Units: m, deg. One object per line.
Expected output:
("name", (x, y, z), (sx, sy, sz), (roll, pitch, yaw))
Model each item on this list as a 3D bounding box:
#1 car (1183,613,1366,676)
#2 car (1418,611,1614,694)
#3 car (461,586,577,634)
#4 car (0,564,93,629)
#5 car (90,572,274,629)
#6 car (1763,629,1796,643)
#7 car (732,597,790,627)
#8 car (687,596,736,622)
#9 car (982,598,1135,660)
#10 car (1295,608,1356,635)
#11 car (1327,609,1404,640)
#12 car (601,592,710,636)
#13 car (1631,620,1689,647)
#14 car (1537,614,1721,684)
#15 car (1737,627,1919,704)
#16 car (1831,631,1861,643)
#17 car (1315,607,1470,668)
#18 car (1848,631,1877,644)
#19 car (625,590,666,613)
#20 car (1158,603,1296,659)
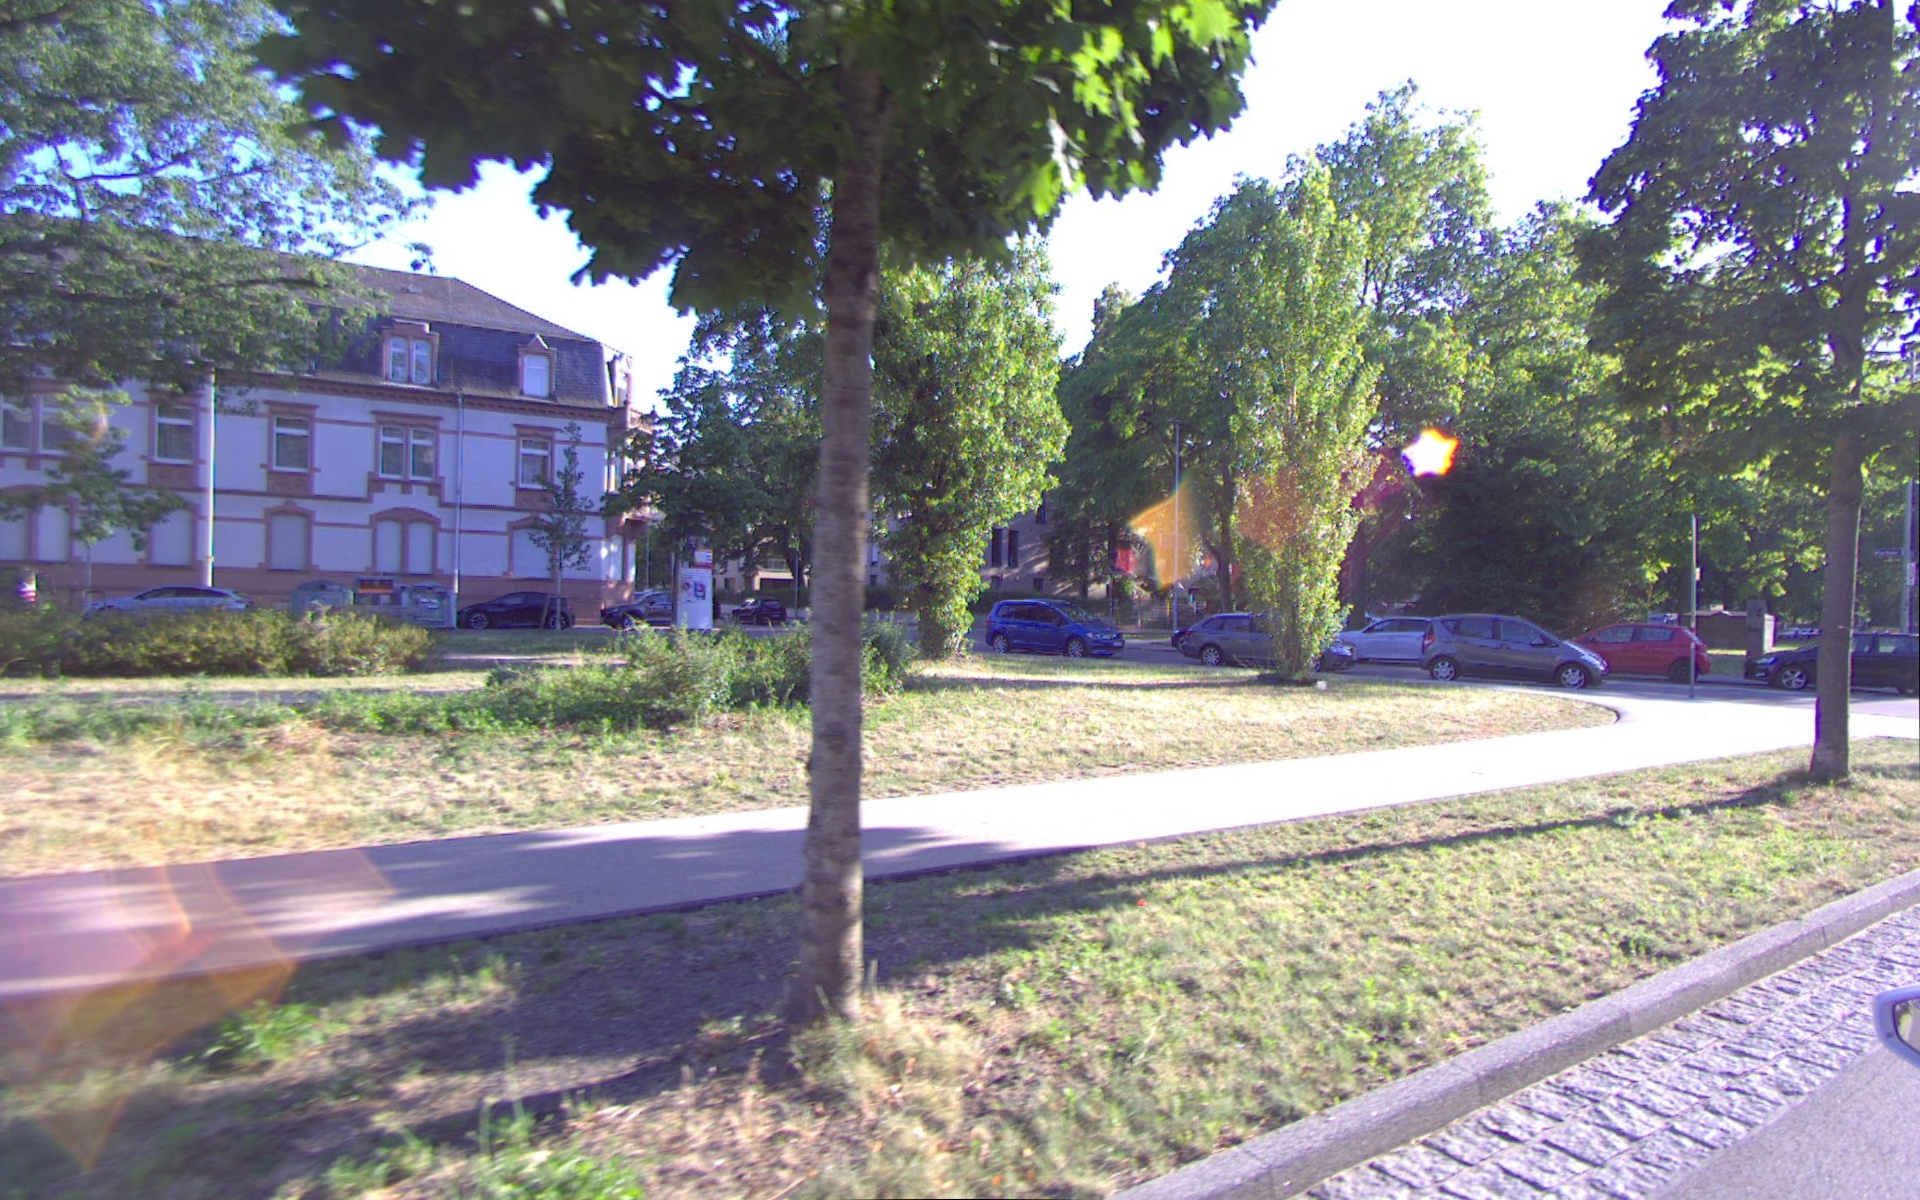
("car", (8.153, 1.112, 26.160), (4.204, 1.419, 1.835), (1, -1, 34))
("car", (12.714, 1.149, 23.058), (3.780, 1.653, 1.836), (1, -1, 32))
("car", (-17.072, 0.394, 38.893), (3.950, 1.594, 1.877), (4, -1, -28))
("car", (-30.789, -0.195, 31.564), (4.908, 1.918, 1.880), (4, -1, -24))
("car", (-26.067, 0.044, 33.893), (4.542, 1.594, 1.877), (4, -1, -28))
("car", (96.357, 4.189, 118.098), (3.959, 1.528, 1.981), (2, -1, -34))
("car", (-11.934, 0.707, 60.115), (1.873, 1.594, 3.959), (4, -2, -36))
("car", (-16.950, 0.607, 68.375), (1.873, 1.594, 3.959), (4, -2, -36))
("car", (2.904, 0.828, 30.060), (4.207, 1.665, 1.833), (1, -1, 37))
("car", (24.147, 1.426, 66.379), (3.700, 1.639, 1.981), (2, 0, -35))
("car", (32.070, 1.925, 79.544), (2.654, 2.142, 4.916), (2, 0, -37))
("car", (-12.697, 0.601, 41.918), (3.959, 1.594, 1.873), (4, -2, -34))
("car", (67.215, 3.228, 96.462), (6.258, 2.496, 2.702), (2, -1, -36))
("car", (17.683, 1.268, 26.776), (3.930, 1.594, 1.887), (2, -1, 31))
("car", (21.337, 1.562, 24.151), (3.930, 1.594, 1.887), (2, -1, 31))
("car", (114.058, 4.773, 129.282), (4.073, 1.528, 1.981), (2, -1, -34))
("car", (12.960, 1.107, 30.165), (3.934, 1.594, 1.885), (2, -2, 35))
("car", (121.115, 5.042, 134.782), (4.073, 1.528, 1.981), (2, -1, -34))
("car", (-23.718, 0.082, 75.695), (1.872, 1.594, 3.962), (4, -2, -34))
("car", (8.759, 1.007, 33.081), (3.935, 1.594, 1.885), (2, -2, 36))
